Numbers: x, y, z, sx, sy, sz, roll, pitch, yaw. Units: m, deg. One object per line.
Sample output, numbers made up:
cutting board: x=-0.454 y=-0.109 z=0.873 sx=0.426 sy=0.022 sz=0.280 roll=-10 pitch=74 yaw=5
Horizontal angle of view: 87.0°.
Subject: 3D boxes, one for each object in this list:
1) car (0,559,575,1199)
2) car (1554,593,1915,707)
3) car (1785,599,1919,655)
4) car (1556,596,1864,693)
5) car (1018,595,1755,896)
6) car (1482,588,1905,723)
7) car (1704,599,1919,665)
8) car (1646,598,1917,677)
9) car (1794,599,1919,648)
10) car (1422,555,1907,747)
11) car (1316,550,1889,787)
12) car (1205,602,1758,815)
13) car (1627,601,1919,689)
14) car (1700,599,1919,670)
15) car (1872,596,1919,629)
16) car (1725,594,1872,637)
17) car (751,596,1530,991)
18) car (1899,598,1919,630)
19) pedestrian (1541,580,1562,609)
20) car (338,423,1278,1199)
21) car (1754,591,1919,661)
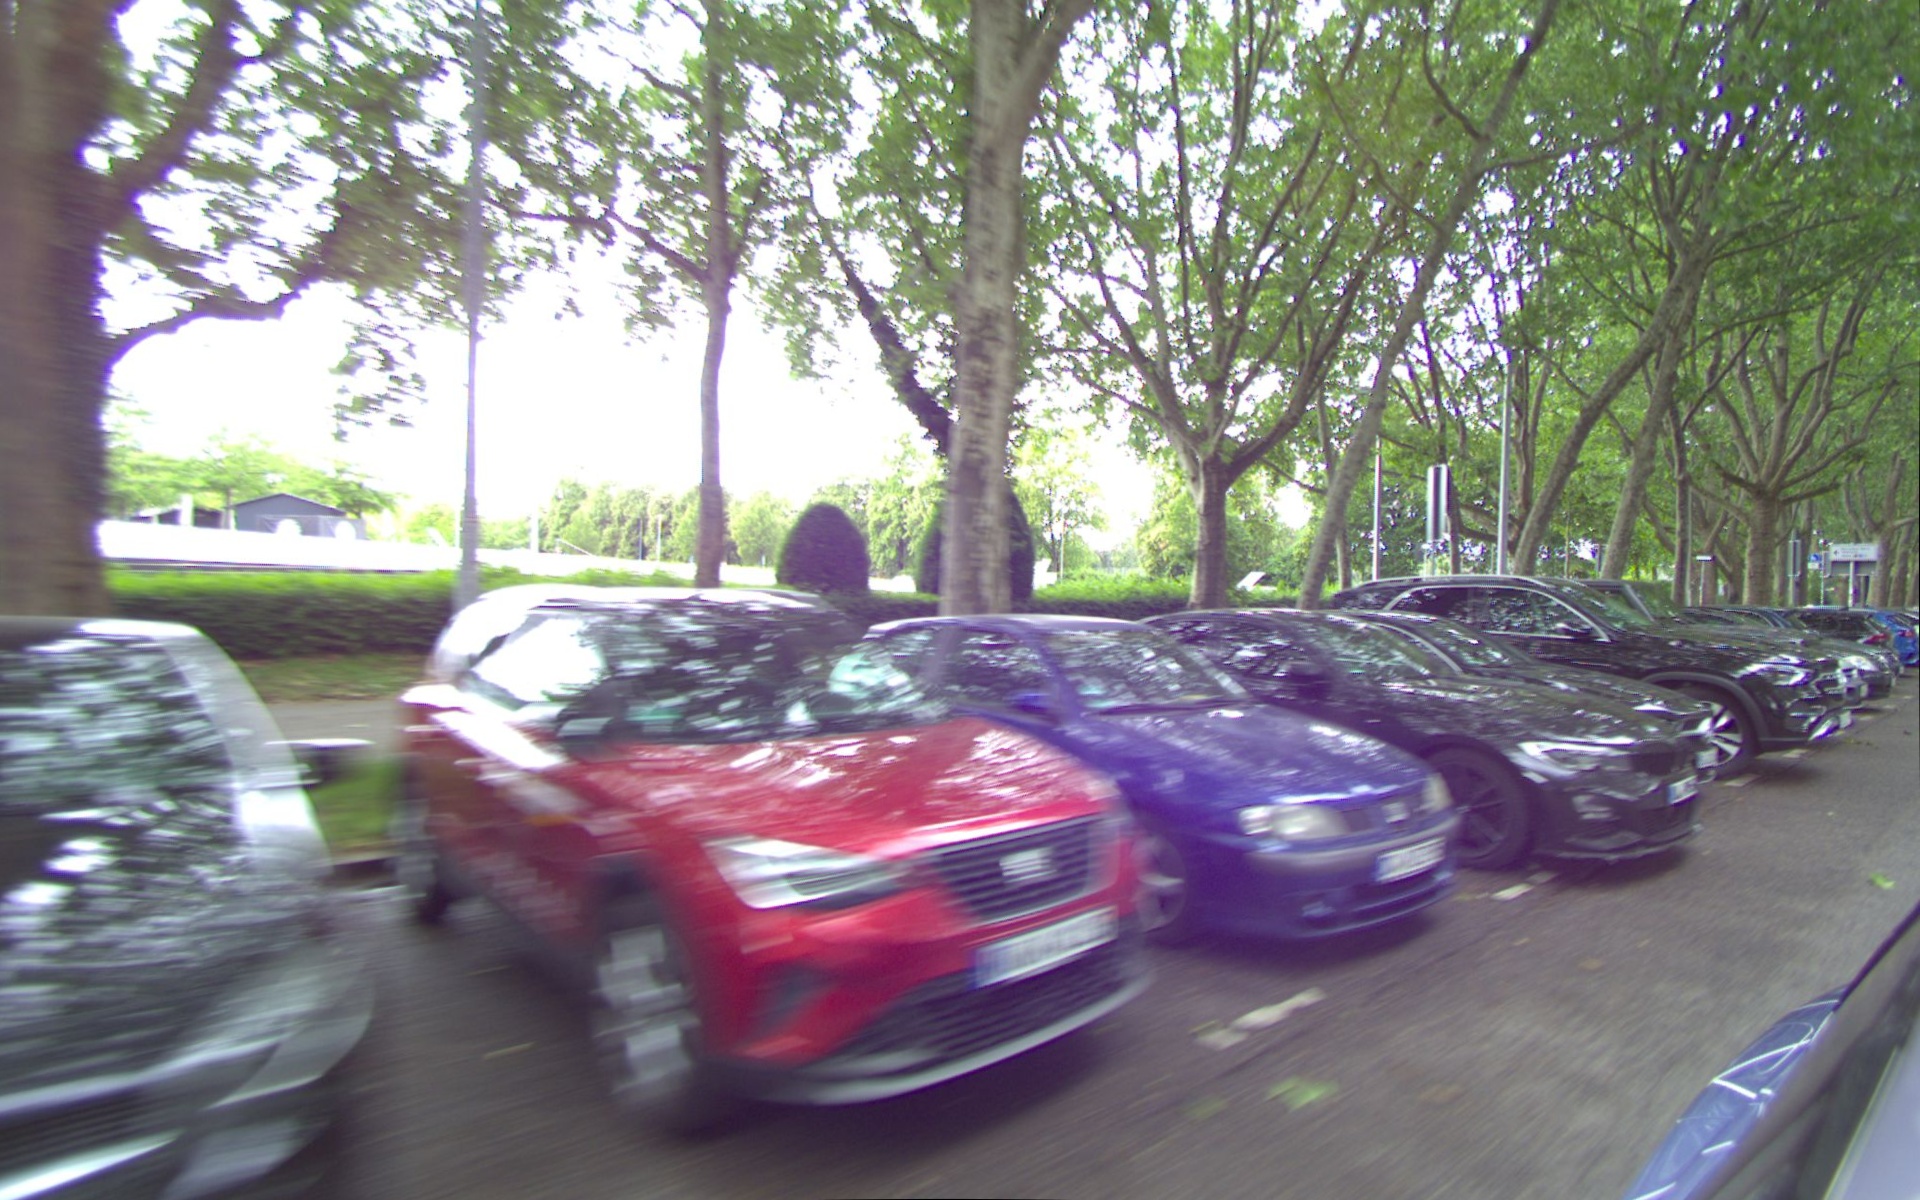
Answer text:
car: x=-3.008 y=0.695 z=2.908 sx=4.346 sy=1.521 sz=1.895 roll=0 pitch=-1 yaw=44
car: x=11.914 y=0.692 z=15.808 sx=1.754 sy=1.538 sz=4.202 roll=0 pitch=-1 yaw=-41
car: x=24.739 y=0.700 z=27.144 sx=1.688 sy=1.435 sz=3.838 roll=1 pitch=0 yaw=-40
car: x=13.266 y=0.703 z=18.088 sx=1.755 sy=1.538 sz=4.199 roll=1 pitch=-1 yaw=-44
car: x=2.634 y=0.697 z=7.223 sx=1.898 sy=1.446 sz=4.504 roll=0 pitch=0 yaw=-40
car: x=10.190 y=0.666 z=14.392 sx=2.010 sy=1.592 sz=4.507 roll=1 pitch=0 yaw=-37
car: x=20.677 y=0.706 z=24.498 sx=1.752 sy=1.466 sz=4.023 roll=1 pitch=-1 yaw=-40
car: x=16.931 y=0.697 z=21.009 sx=1.755 sy=1.474 sz=4.199 roll=1 pitch=-1 yaw=-44
car: x=28.384 y=0.701 z=30.651 sx=1.687 sy=1.435 sz=4.600 roll=1 pitch=0 yaw=-37
car: x=8.354 y=0.507 z=12.390 sx=2.010 sy=1.890 sz=4.505 roll=1 pitch=-1 yaw=-39
car: x=6.160 y=0.531 z=10.176 sx=2.011 sy=1.819 sz=4.503 roll=1 pitch=-1 yaw=-41
car: x=4.307 y=0.731 z=8.897 sx=1.708 sy=1.408 sz=3.992 roll=0 pitch=0 yaw=-39
car: x=15.322 y=0.761 z=19.185 sx=1.755 sy=1.474 sz=4.199 roll=1 pitch=-1 yaw=-44
car: x=19.129 y=0.715 z=22.610 sx=4.015 sy=1.466 sz=1.884 roll=0 pitch=-1 yaw=44
car: x=45.550 y=0.578 z=46.840 sx=1.966 sy=1.525 sz=4.824 roll=0 pitch=-1 yaw=-42
car: x=33.215 y=0.583 z=40.181 sx=1.754 sy=1.480 sz=4.283 roll=0 pitch=2 yaw=-42
car: x=0.614 y=0.699 z=6.013 sx=1.796 sy=1.438 sz=4.505 roll=0 pitch=0 yaw=-39
car: x=47.546 y=0.676 z=47.945 sx=1.966 sy=1.496 sz=4.377 roll=-1 pitch=1 yaw=-42
pedestrian: x=31.855 y=-0.300 z=54.496 sx=0.685 sy=1.587 sz=0.725 roll=0 pitch=0 yaw=-35
car: x=-1.127 y=0.529 z=4.547 sx=2.013 sy=1.819 sz=4.500 roll=1 pitch=-1 yaw=-43
car: x=23.055 y=0.622 z=25.487 sx=2.018 sy=1.644 sz=4.533 roll=1 pitch=0 yaw=-40
